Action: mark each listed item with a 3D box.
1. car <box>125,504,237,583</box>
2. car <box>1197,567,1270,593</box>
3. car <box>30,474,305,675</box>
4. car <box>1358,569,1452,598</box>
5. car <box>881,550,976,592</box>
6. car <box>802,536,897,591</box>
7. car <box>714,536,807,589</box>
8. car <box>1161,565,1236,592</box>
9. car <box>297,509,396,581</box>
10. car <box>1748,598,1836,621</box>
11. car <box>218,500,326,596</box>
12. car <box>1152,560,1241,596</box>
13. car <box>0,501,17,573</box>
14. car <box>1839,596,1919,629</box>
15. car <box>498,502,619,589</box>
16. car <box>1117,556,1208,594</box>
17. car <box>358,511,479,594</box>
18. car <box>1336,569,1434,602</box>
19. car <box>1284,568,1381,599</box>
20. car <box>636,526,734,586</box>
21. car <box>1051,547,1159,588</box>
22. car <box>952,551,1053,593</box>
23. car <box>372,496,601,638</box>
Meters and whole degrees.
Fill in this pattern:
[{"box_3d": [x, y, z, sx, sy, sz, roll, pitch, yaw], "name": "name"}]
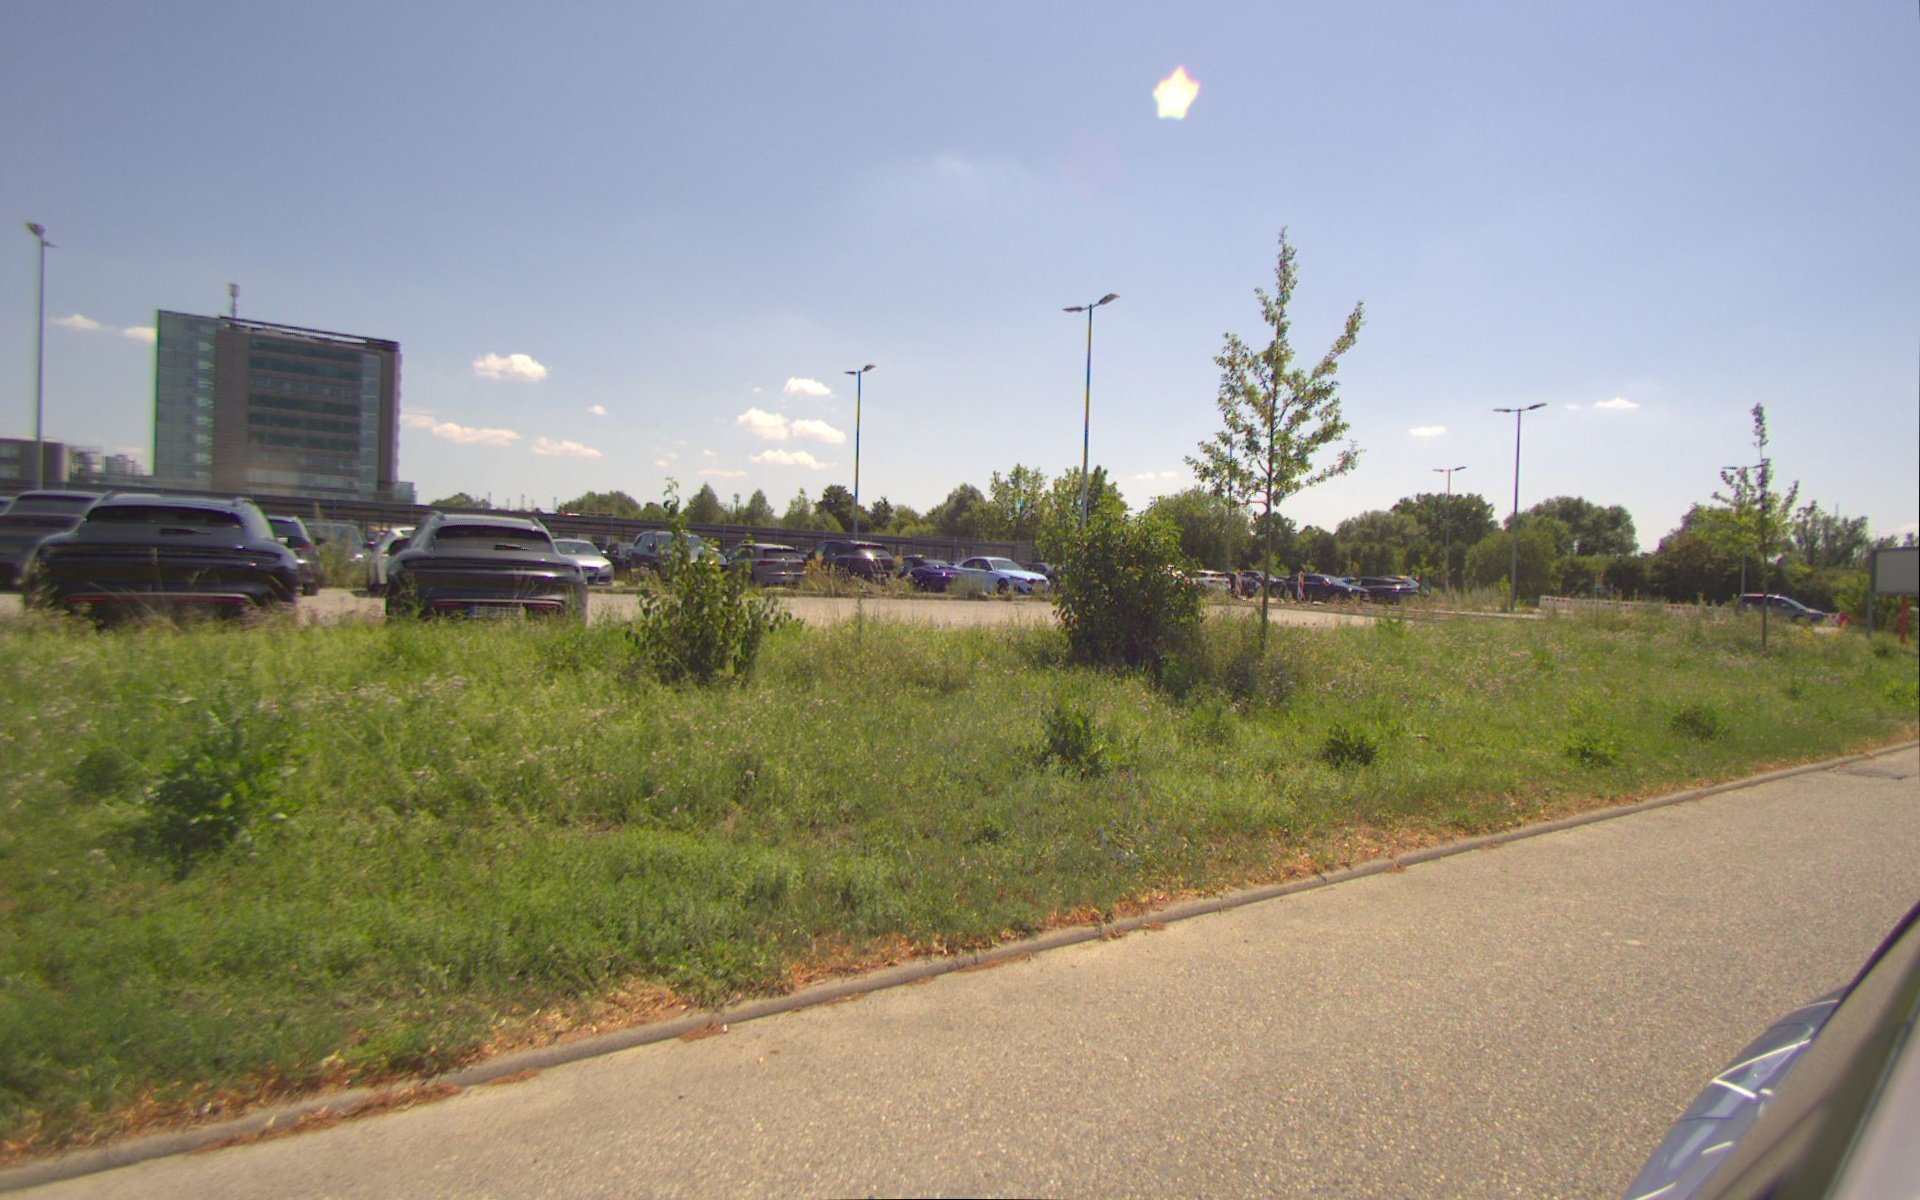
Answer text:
[{"box_3d": [-16.727, -1.227, 21.865, 1.736, 1.517, 3.642, 0, 3, -35], "name": "car"}, {"box_3d": [16.000, -1.148, 59.268, 1.616, 1.486, 3.997, 0, 0, -37], "name": "car"}, {"box_3d": [-7.715, -0.311, 10.184, 1.780, 1.564, 4.405, 0, 3, -34], "name": "car"}, {"box_3d": [21.916, -0.789, 49.971, 1.616, 1.368, 3.997, 0, 0, -37], "name": "car"}, {"box_3d": [-1.110, -0.994, 33.804, 1.528, 1.177, 3.465, 1, 3, -34], "name": "car"}, {"box_3d": [-3.529, -1.184, 31.932, 1.531, 1.564, 3.442, 1, 3, -34], "name": "car"}, {"box_3d": [-6.101, -1.161, 30.694, 1.531, 1.408, 3.442, 1, 3, -34], "name": "car"}, {"box_3d": [13.404, -1.178, 57.085, 1.616, 1.486, 3.997, 0, 0, -37], "name": "car"}, {"box_3d": [-14.338, -1.284, 23.565, 1.736, 1.517, 3.642, 0, 3, -35], "name": "car"}, {"box_3d": [51.766, 0.558, 63.025, 1.616, 1.368, 3.997, 0, 0, -37], "name": "car"}, {"box_3d": [-12.718, -0.960, 18.640, 1.494, 1.593, 3.420, 0, 3, -37], "name": "car"}, {"box_3d": [9.614, -0.913, 41.302, 1.437, 1.238, 3.466, 1, 3, -34], "name": "car"}, {"box_3d": [-20.751, -1.322, 20.749, 1.568, 1.517, 3.642, 0, 3, -35], "name": "car"}, {"box_3d": [40.197, 0.501, 43.040, 1.616, 1.368, 3.997, 0, 0, -37], "name": "car"}, {"box_3d": [-10.432, -1.306, 26.142, 1.963, 2.039, 3.999, 0, 0, -36], "name": "car"}, {"box_3d": [7.911, -1.016, 39.838, 1.437, 1.238, 3.466, 1, 4, -34], "name": "car"}, {"box_3d": [-11.063, -0.980, 20.564, 1.736, 1.517, 3.642, 0, 3, -35], "name": "car"}, {"box_3d": [20.119, -0.712, 48.016, 1.616, 1.367, 4.000, 0, 3, -37], "name": "car"}, {"box_3d": [17.317, -0.738, 47.183, 1.616, 1.368, 3.997, 0, 0, -37], "name": "car"}, {"box_3d": [-7.926, -1.283, 28.983, 1.531, 1.529, 3.787, 1, 3, -34], "name": "car"}, {"box_3d": [5.413, -1.249, 38.373, 1.528, 1.312, 4.306, 1, 4, -34], "name": "car"}, {"box_3d": [1.466, -1.013, 36.020, 1.579, 1.251, 3.853, 1, 4, -34], "name": "car"}, {"box_3d": [-5.513, -0.321, 11.503, 1.871, 1.308, 4.002, -1, 1, -32], "name": "car"}]
